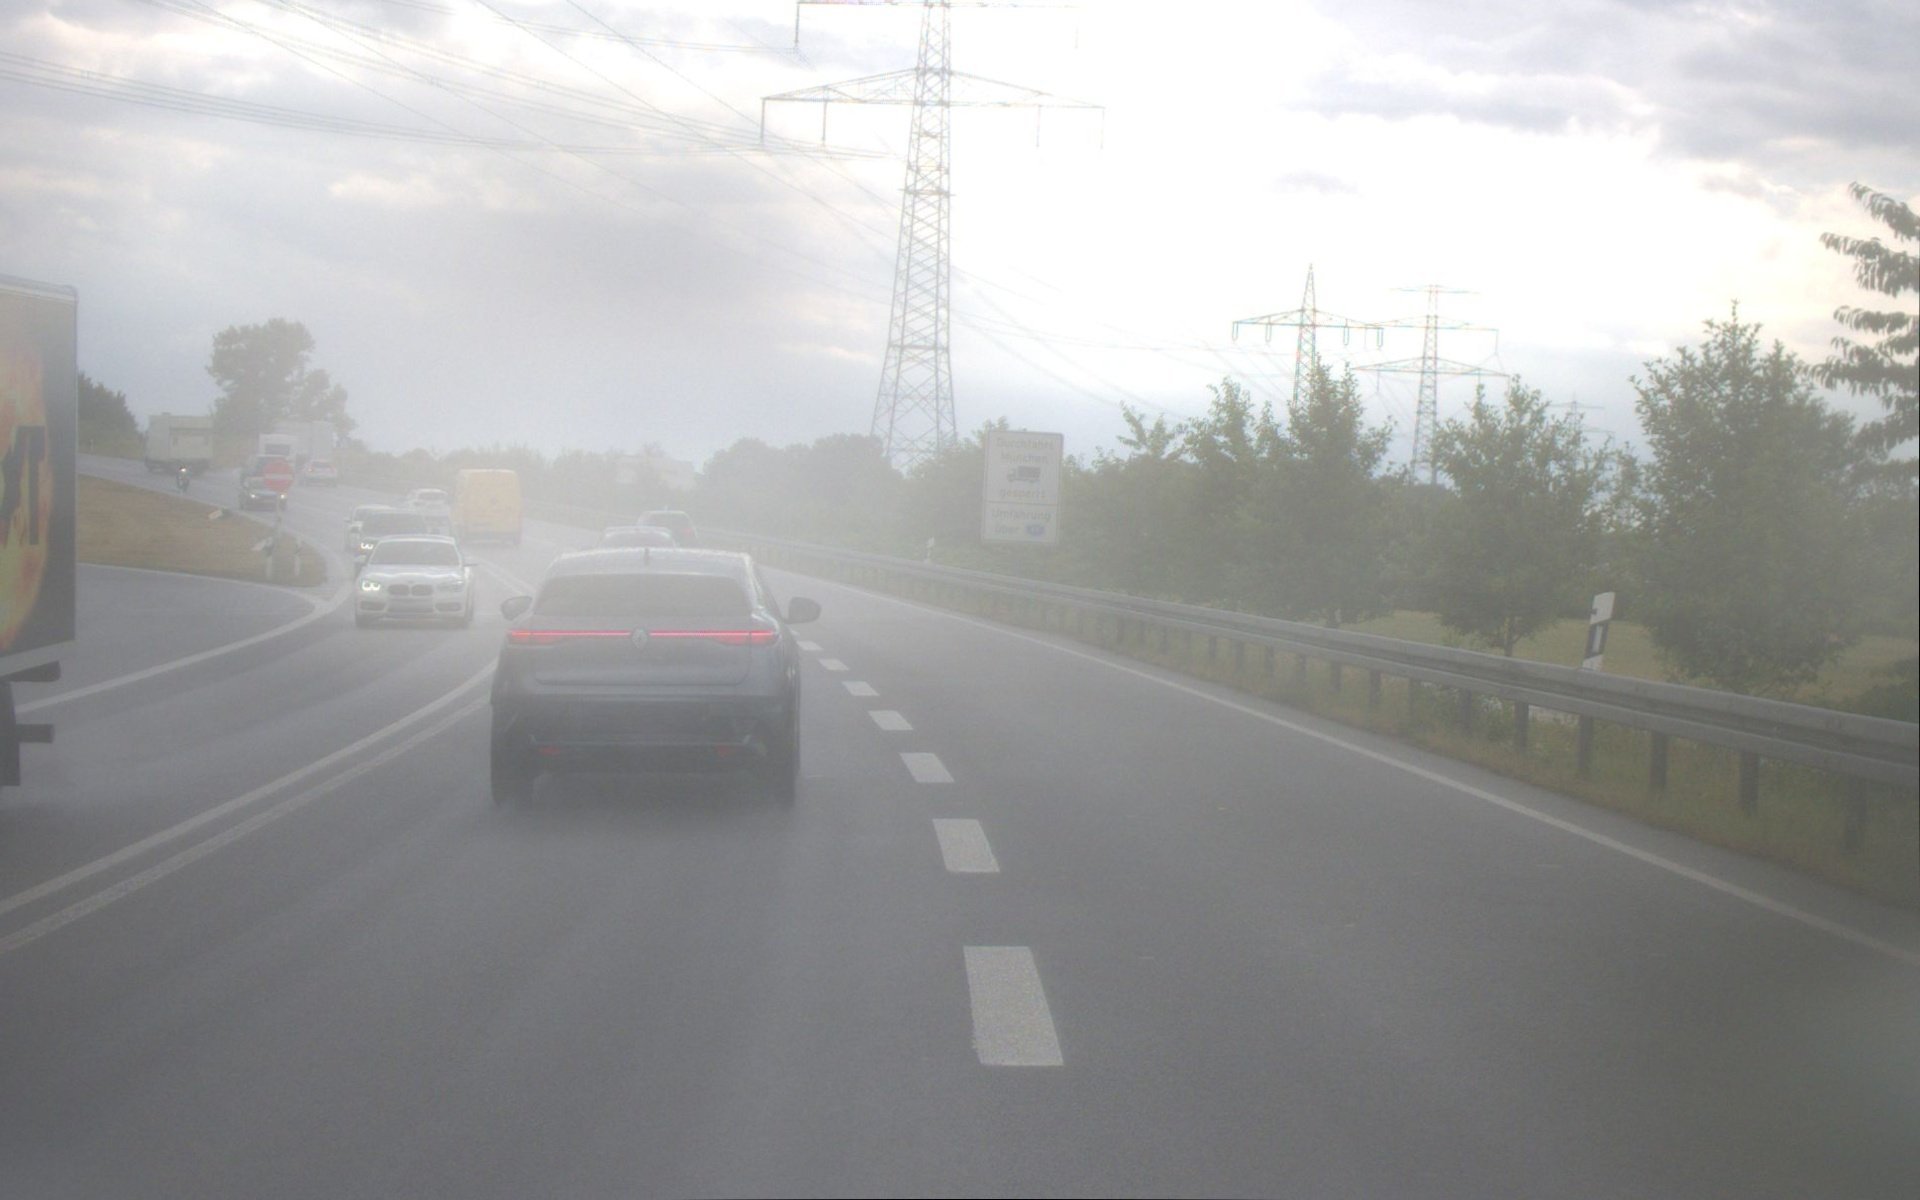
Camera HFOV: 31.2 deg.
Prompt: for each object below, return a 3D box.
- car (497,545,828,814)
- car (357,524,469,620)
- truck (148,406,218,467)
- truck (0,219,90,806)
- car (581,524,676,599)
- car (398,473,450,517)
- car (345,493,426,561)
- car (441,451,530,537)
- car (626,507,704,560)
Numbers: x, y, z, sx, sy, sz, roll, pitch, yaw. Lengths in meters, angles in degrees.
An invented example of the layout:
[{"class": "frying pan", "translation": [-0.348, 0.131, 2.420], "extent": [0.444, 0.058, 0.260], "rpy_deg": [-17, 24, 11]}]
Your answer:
[{"class": "car", "translation": [-1.792, 0.451, 21.169], "extent": [1.791, 1.436, 4.000], "rpy_deg": [2, 0, -4]}, {"class": "car", "translation": [-8.751, -0.466, 55.153], "extent": [1.679, 1.452, 4.076], "rpy_deg": [1, 1, -8]}, {"class": "truck", "translation": [-46.459, -9.735, 205.411], "extent": [3.045, 3.373, 7.647], "rpy_deg": [1, 1, -21]}, {"class": "truck", "translation": [-6.243, -0.453, 17.143], "extent": [2.256, 3.145, 6.690], "rpy_deg": [0, 1, -1]}, {"class": "car", "translation": [-6.506, -0.756, 67.438], "extent": [1.791, 1.436, 4.001], "rpy_deg": [0, 1, -6]}, {"class": "car", "translation": [-21.710, -4.247, 139.197], "extent": [1.791, 1.682, 4.001], "rpy_deg": [2, 1, -12]}, {"class": "car", "translation": [-13.712, -1.729, 82.212], "extent": [1.799, 1.569, 4.260], "rpy_deg": [0, 1, -8]}, {"class": "car", "translation": [-16.127, -3.580, 116.486], "extent": [2.572, 2.716, 7.198], "rpy_deg": [2, 1, -11]}, {"class": "car", "translation": [-8.814, -1.966, 102.566], "extent": [1.791, 1.536, 4.001], "rpy_deg": [0, 1, -13]}]
